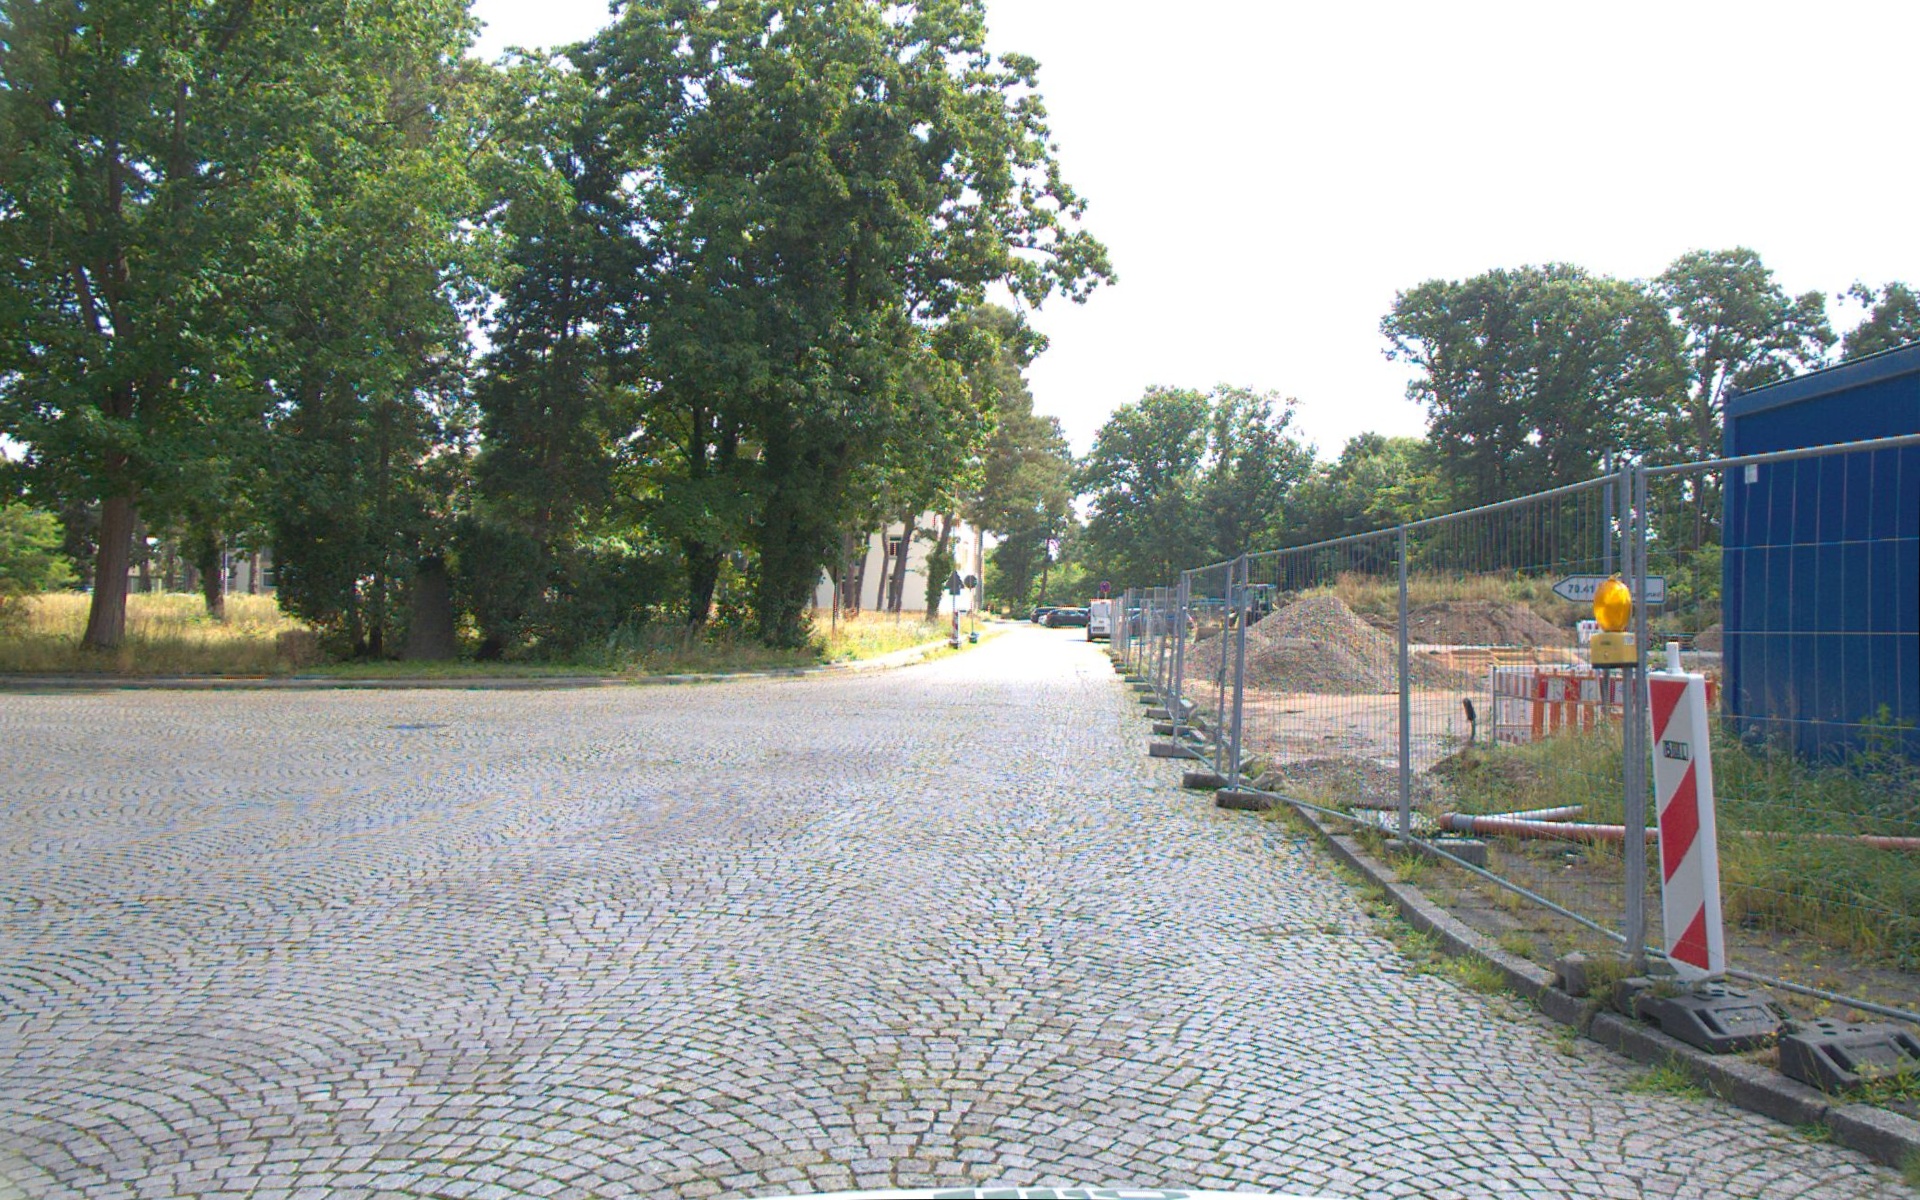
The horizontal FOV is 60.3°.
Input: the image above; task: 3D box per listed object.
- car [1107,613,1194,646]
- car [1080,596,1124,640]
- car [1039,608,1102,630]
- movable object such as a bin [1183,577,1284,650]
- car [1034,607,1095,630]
[{"bbox_3d":[9.943,1.528,86.235,4.309,1.537,2.002,2,0,12],"label":"car"},{"bbox_3d":[6.894,0.867,80.538,1.952,2.049,4.092,1,0,2],"label":"car"},{"bbox_3d":[8.561,1.468,128.606,4.683,1.669,1.999,1,0,-2],"label":"car"},{"bbox_3d":[10.411,0.515,62.755,2.090,2.638,4.778,1,0,32],"label":"movable object such as a bin"},{"bbox_3d":[8.312,1.470,131.730,4.683,1.669,1.999,1,0,-2],"label":"car"}]
